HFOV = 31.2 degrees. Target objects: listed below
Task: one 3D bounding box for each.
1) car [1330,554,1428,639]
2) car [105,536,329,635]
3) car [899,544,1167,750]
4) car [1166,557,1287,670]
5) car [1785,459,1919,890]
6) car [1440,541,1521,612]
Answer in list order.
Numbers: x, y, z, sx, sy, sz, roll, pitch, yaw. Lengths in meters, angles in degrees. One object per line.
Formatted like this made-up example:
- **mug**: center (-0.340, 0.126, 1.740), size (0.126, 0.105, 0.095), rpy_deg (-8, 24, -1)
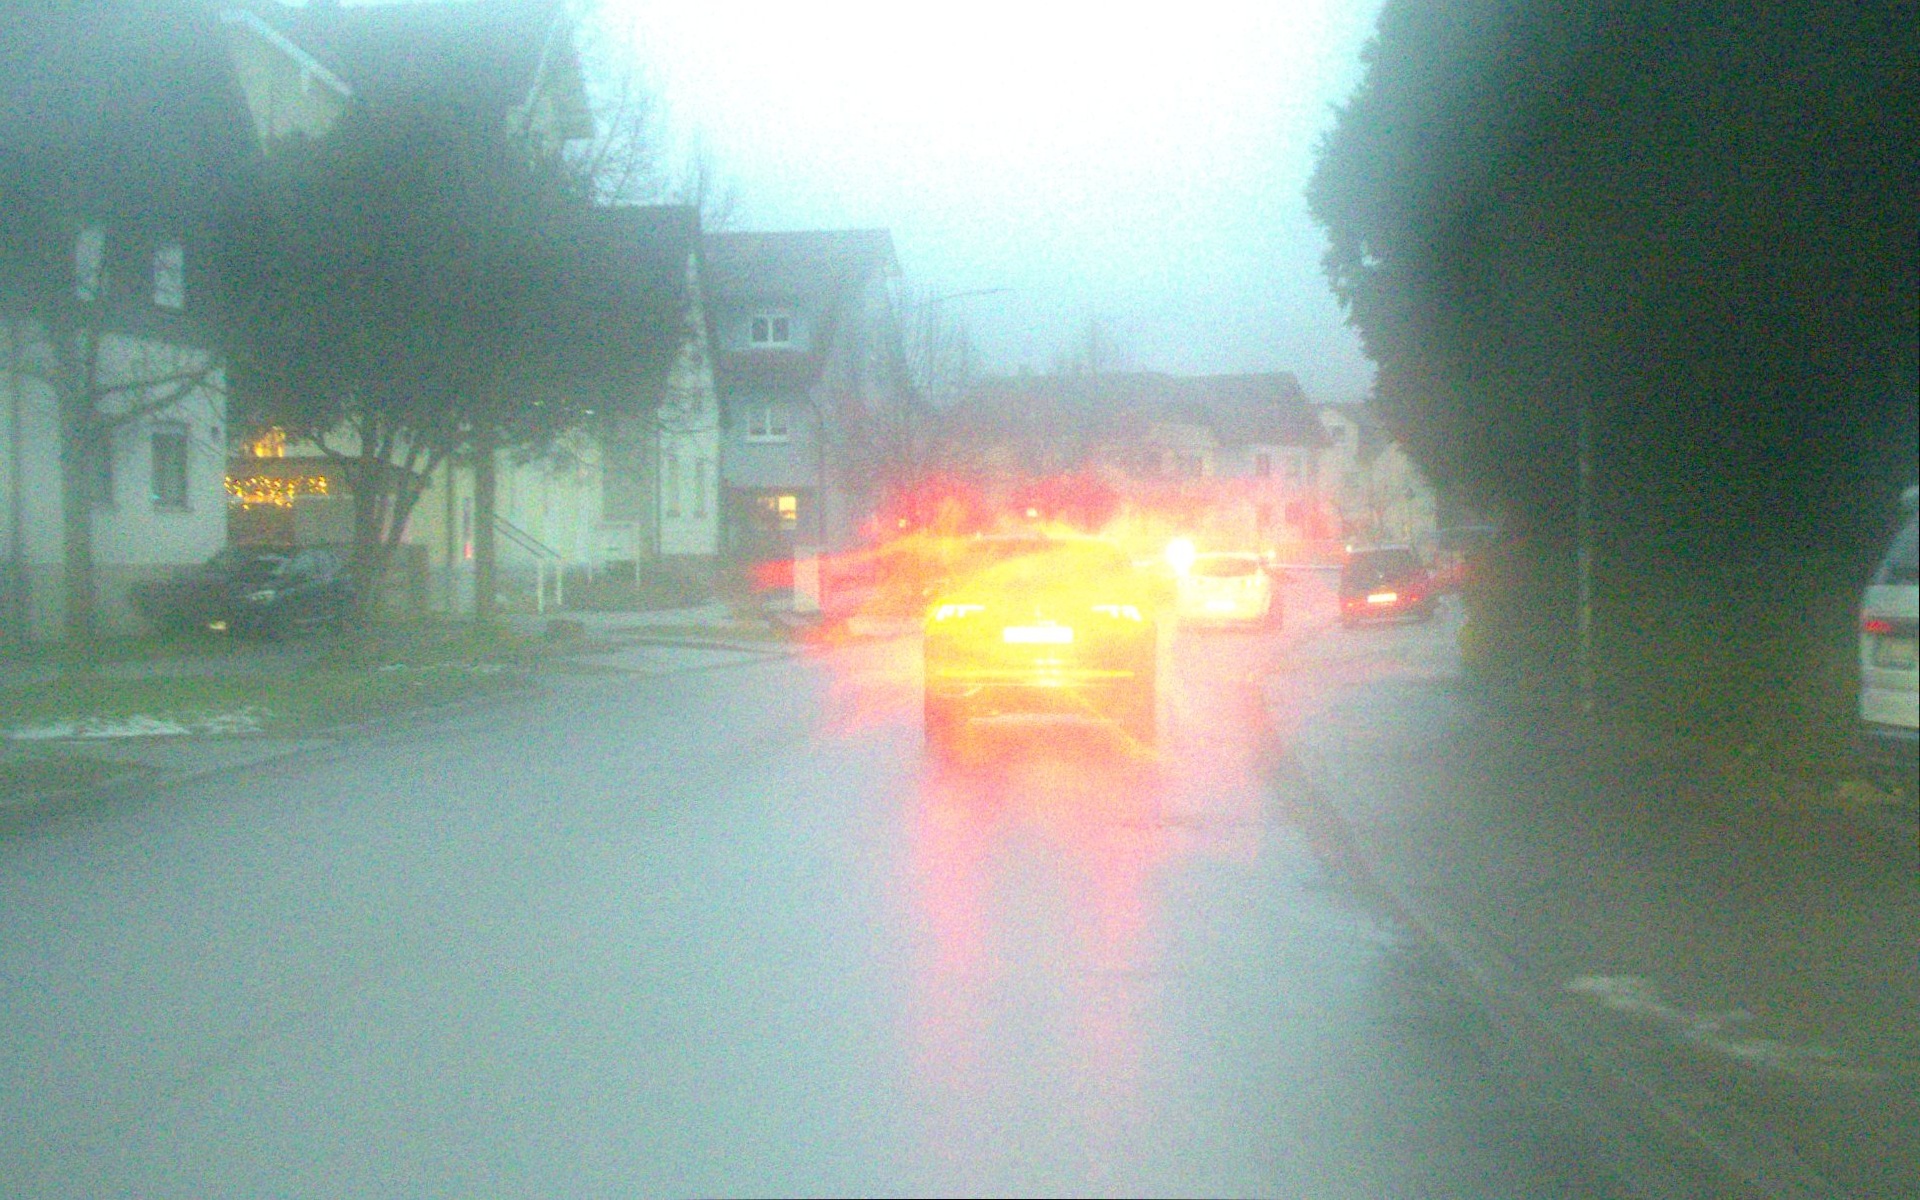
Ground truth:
- **car**: center (7.865, -0.069, 64.340), size (1.650, 1.535, 3.389), rpy_deg (-1, 0, 10)
- **car**: center (-10.735, -0.208, 49.936), size (1.782, 1.361, 3.998), rpy_deg (1, 0, 10)
- **car**: center (0.606, 0.328, 27.787), size (1.993, 1.520, 4.000), rpy_deg (1, 1, 2)
- **car**: center (4.987, 0.240, 63.967), size (1.994, 2.007, 3.999), rpy_deg (1, 0, 8)
- **car**: center (5.946, 0.198, 14.573), size (4.322, 1.726, 2.000), rpy_deg (-2, 1, -2)
- **car**: center (15.735, -0.741, 103.645), size (1.978, 2.007, 5.742), rpy_deg (-2, 1, 12)
